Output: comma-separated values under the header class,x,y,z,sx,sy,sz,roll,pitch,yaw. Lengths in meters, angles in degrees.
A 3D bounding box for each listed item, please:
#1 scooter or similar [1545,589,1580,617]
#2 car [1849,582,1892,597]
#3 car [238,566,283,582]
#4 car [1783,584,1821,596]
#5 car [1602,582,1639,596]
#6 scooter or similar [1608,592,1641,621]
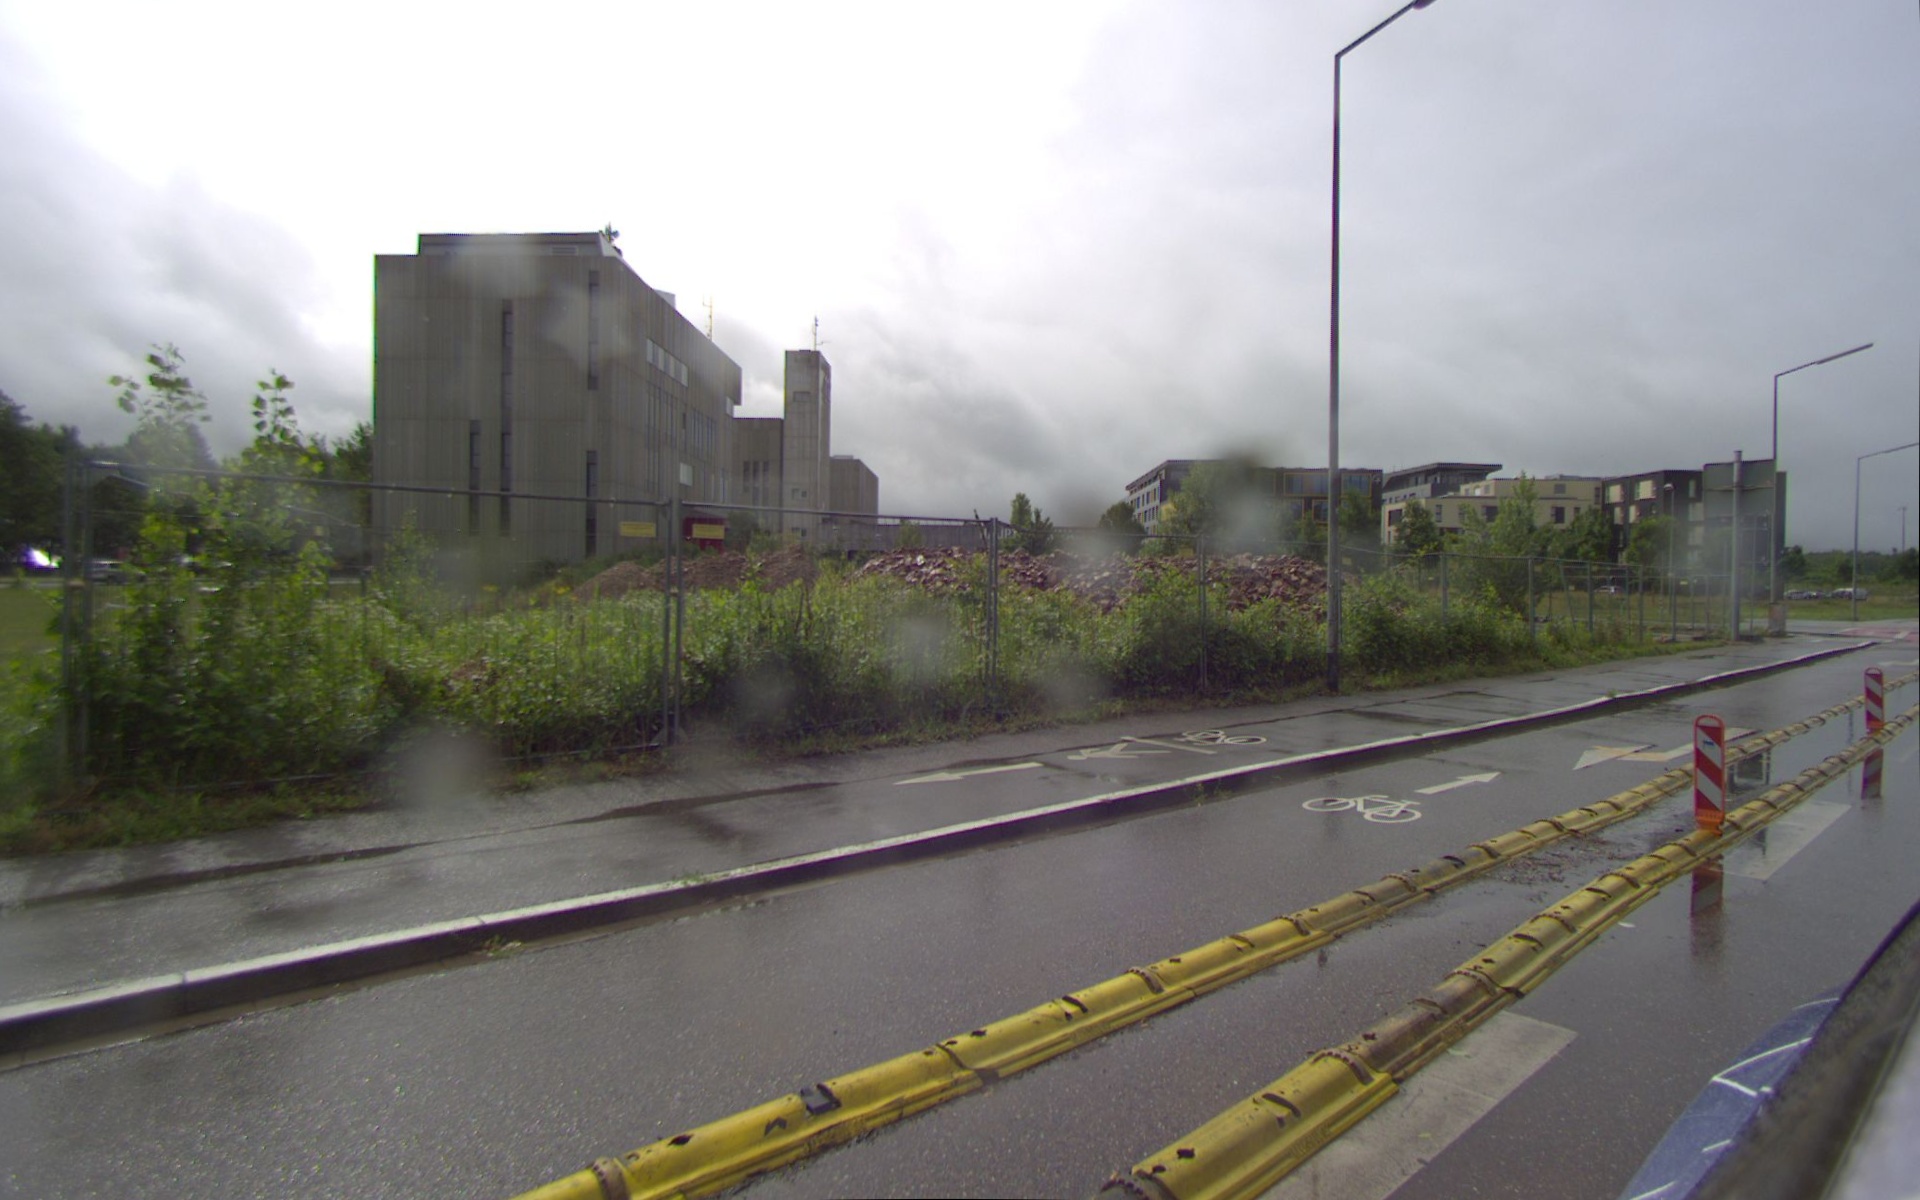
class,x,y,z,sx,sy,sz,roll,pitch,yaw
scooter or similar,26.553,0.130,44.632,0.731,1.164,1.197,1,1,-8
car,125.333,-1.471,139.399,3.930,2.039,1.997,1,1,6
car,-70.619,-2.592,102.254,1.515,1.578,4.233,1,1,3
car,114.784,-1.365,137.948,3.589,1.631,1.596,1,1,9
car,76.323,-1.229,116.986,3.591,1.603,1.652,0,1,-18
scooter or similar,27.521,0.279,41.933,0.473,1.164,1.197,1,1,-8
